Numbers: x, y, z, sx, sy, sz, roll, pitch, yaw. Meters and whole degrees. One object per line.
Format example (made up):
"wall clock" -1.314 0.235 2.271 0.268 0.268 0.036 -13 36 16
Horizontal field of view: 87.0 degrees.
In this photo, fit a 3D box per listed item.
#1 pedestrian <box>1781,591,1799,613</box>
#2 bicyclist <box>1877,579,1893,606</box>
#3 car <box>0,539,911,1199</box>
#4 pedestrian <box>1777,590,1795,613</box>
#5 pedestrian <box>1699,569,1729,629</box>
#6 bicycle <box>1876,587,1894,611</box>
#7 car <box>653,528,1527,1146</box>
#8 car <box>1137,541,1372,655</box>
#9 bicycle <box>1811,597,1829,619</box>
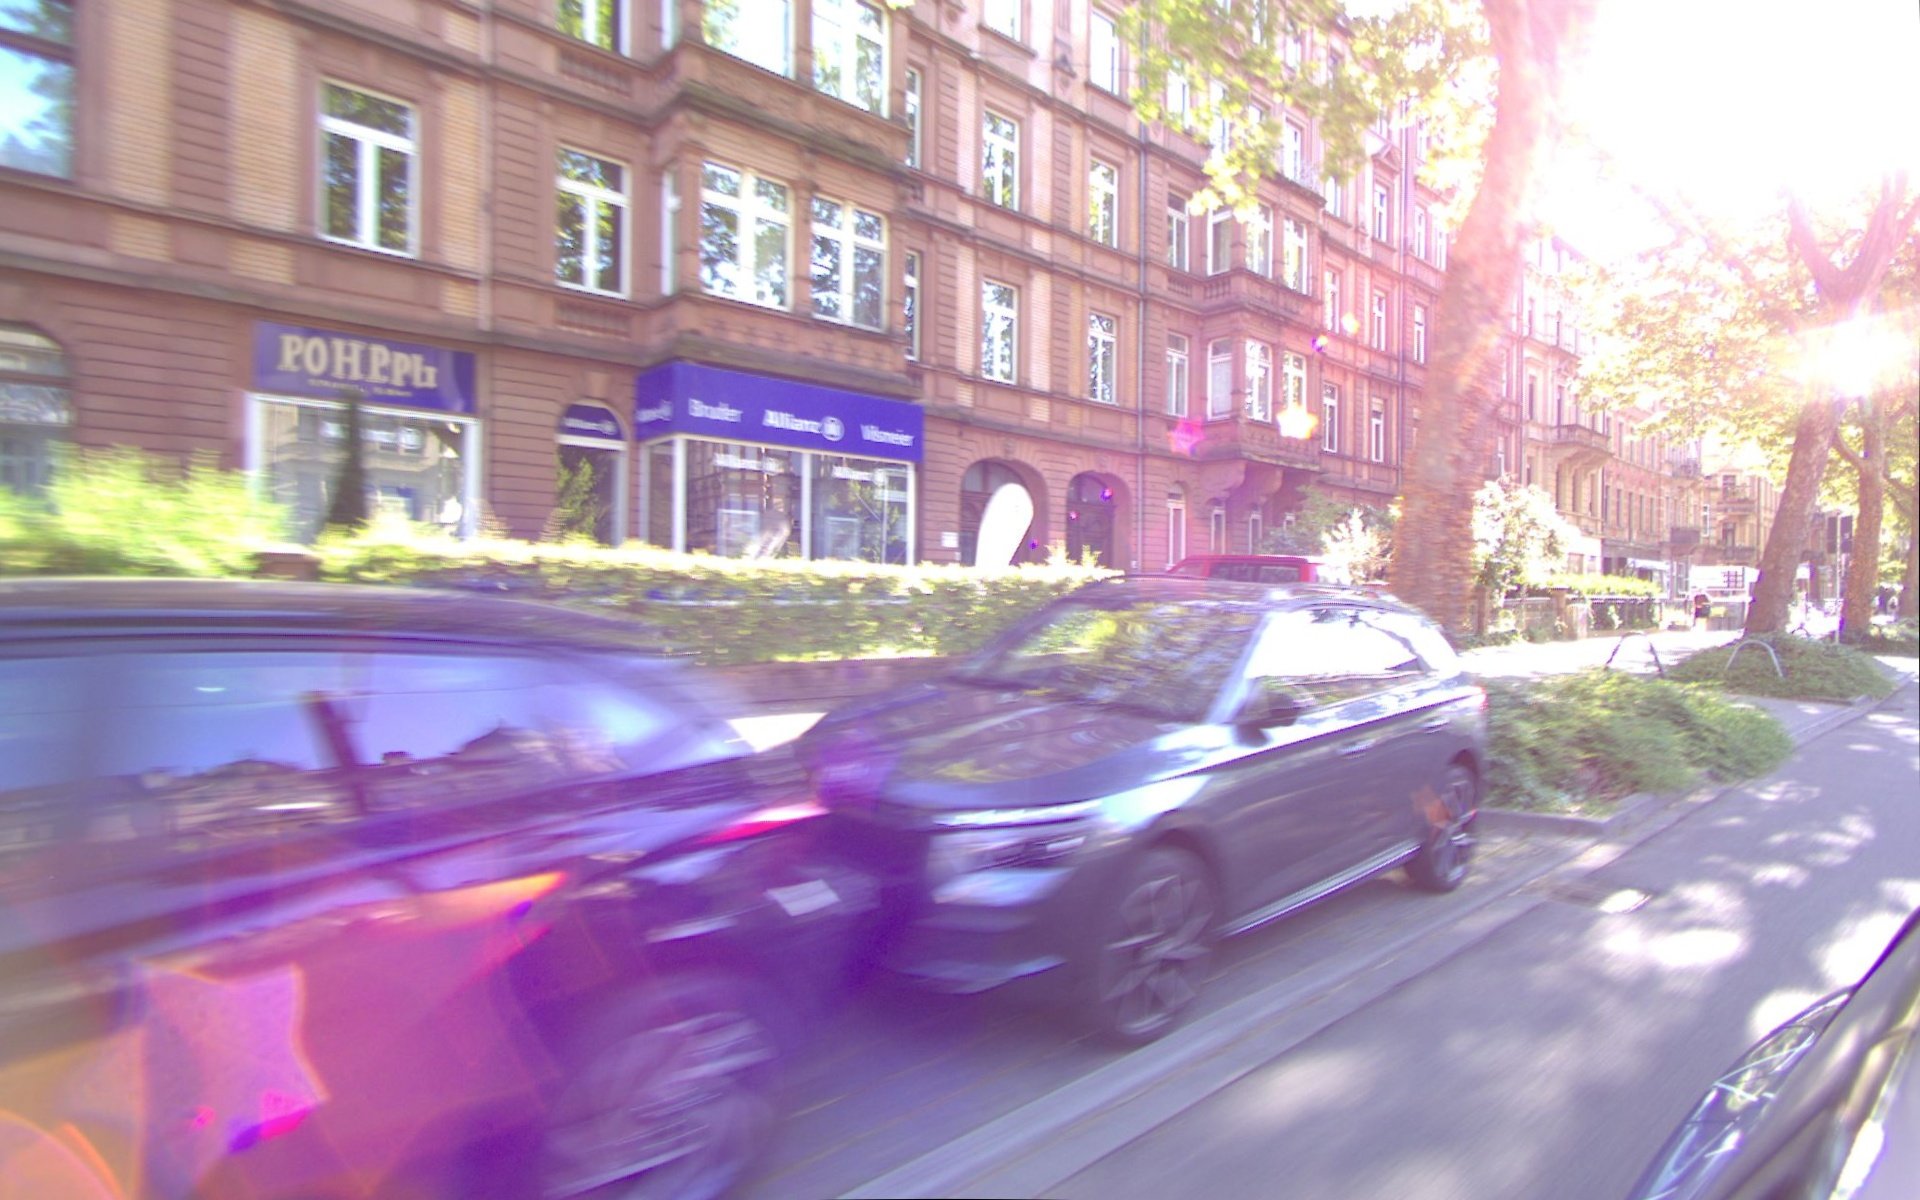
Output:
"pedestrian" 48.628 0.119 59.301 0.651 1.316 0.713 0 0 -43
"bicyclist" 49.006 -0.388 53.619 0.633 1.398 0.543 2 -2 -44
"car" -2.121 0.640 1.898 3.981 1.517 1.554 0 2 -43
"pedestrian" 47.690 0.068 58.409 0.651 1.316 0.713 0 0 -43
"pedestrian" 25.914 -0.052 34.775 0.622 2.039 0.674 0 1 -42
"bicycle" 49.008 -0.038 53.601 2.189 1.193 0.561 1 -2 -44
"car" 0.982 0.581 4.707 4.342 1.607 1.618 0 2 -43
"car" 5.990 -0.126 20.926 1.967 2.038 4.182 0 3 -43
"bicycle" 46.359 0.436 54.532 1.864 1.157 0.476 0 3 -43
